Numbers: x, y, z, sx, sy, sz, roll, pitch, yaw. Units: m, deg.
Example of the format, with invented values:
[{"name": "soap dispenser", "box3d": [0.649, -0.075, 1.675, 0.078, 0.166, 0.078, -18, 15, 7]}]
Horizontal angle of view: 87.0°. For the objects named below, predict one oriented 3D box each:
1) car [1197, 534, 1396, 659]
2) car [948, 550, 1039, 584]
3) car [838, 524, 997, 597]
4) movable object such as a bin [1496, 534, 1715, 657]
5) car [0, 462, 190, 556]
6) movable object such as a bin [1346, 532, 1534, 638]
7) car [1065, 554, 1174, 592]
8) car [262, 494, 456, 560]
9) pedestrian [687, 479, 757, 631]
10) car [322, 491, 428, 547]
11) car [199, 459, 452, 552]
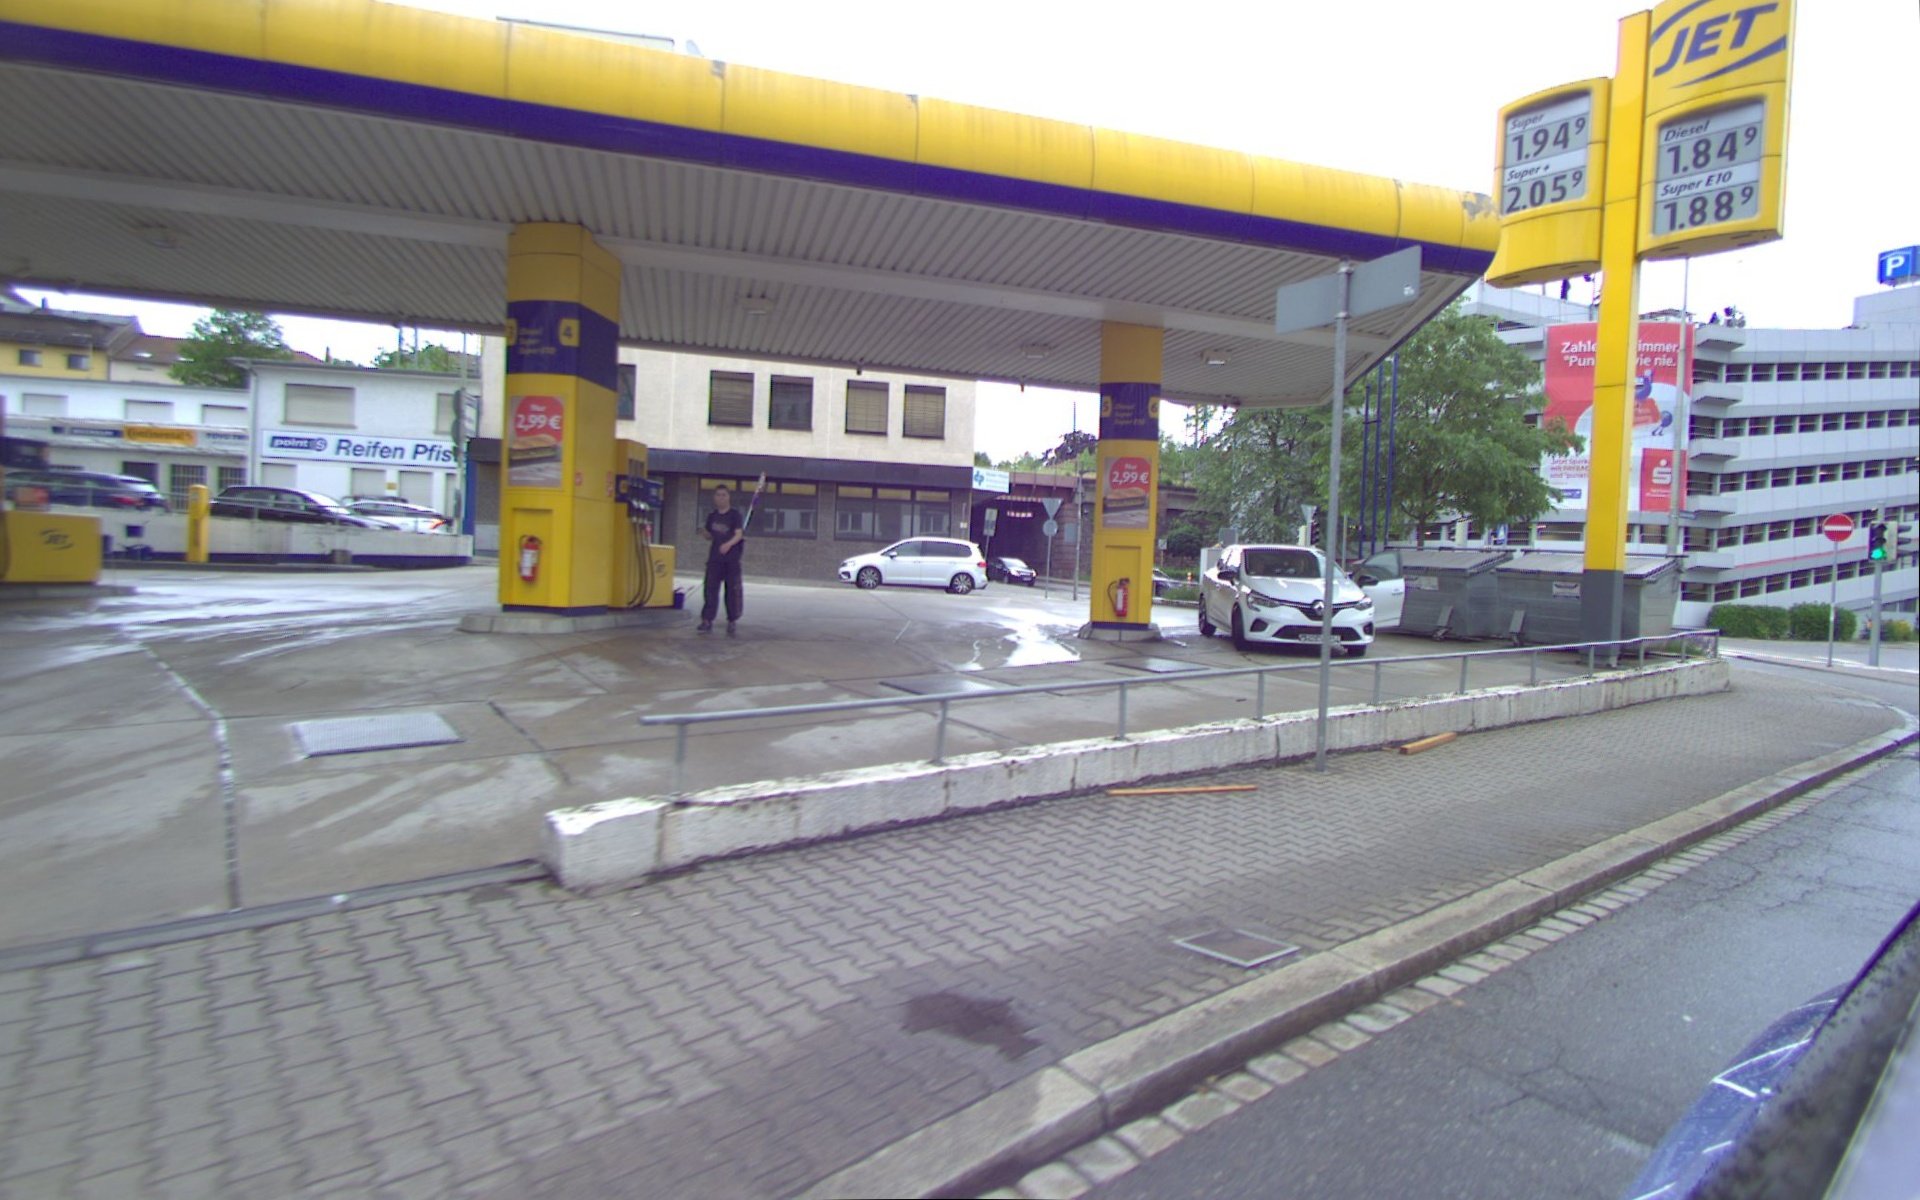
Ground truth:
[{"name": "car", "box3d": [4.517, -0.144, 14.206, 1.715, 1.459, 3.996, 2, 3, 5]}, {"name": "car", "box3d": [1.765, -1.724, 54.556, 1.967, 1.652, 5.027, 0, 0, -43]}, {"name": "car", "box3d": [-1.297, -1.104, 29.652, 4.309, 1.748, 2.003, 4, -1, -10]}, {"name": "movable object such as a bin", "box3d": [9.228, -0.097, 14.516, 1.740, 1.594, 2.162, 0, 2, -37]}, {"name": "car", "box3d": [-20.039, -1.966, 22.298, 4.485, 1.888, 2.003, 0, 0, -9]}, {"name": "movable object such as a bin", "box3d": [7.740, -0.280, 16.392, 1.740, 1.574, 2.162, 0, 3, -37]}, {"name": "car", "box3d": [7.555, -1.244, 48.373, 1.967, 1.652, 5.027, 0, 0, -43]}, {"name": "car", "box3d": [-16.171, -1.941, 27.418, 4.122, 1.497, 1.809, 1, -1, -11]}, {"name": "pedestrian", "box3d": [-2.901, -0.554, 12.363, 0.649, 1.793, 0.529, 2, 3, 10]}, {"name": "car", "box3d": [-20.599, -2.815, 35.842, 1.959, 1.661, 4.006, 0, 0, -9]}, {"name": "car", "box3d": [-14.374, -2.099, 23.202, 4.485, 1.888, 2.003, 0, 0, -9]}]
